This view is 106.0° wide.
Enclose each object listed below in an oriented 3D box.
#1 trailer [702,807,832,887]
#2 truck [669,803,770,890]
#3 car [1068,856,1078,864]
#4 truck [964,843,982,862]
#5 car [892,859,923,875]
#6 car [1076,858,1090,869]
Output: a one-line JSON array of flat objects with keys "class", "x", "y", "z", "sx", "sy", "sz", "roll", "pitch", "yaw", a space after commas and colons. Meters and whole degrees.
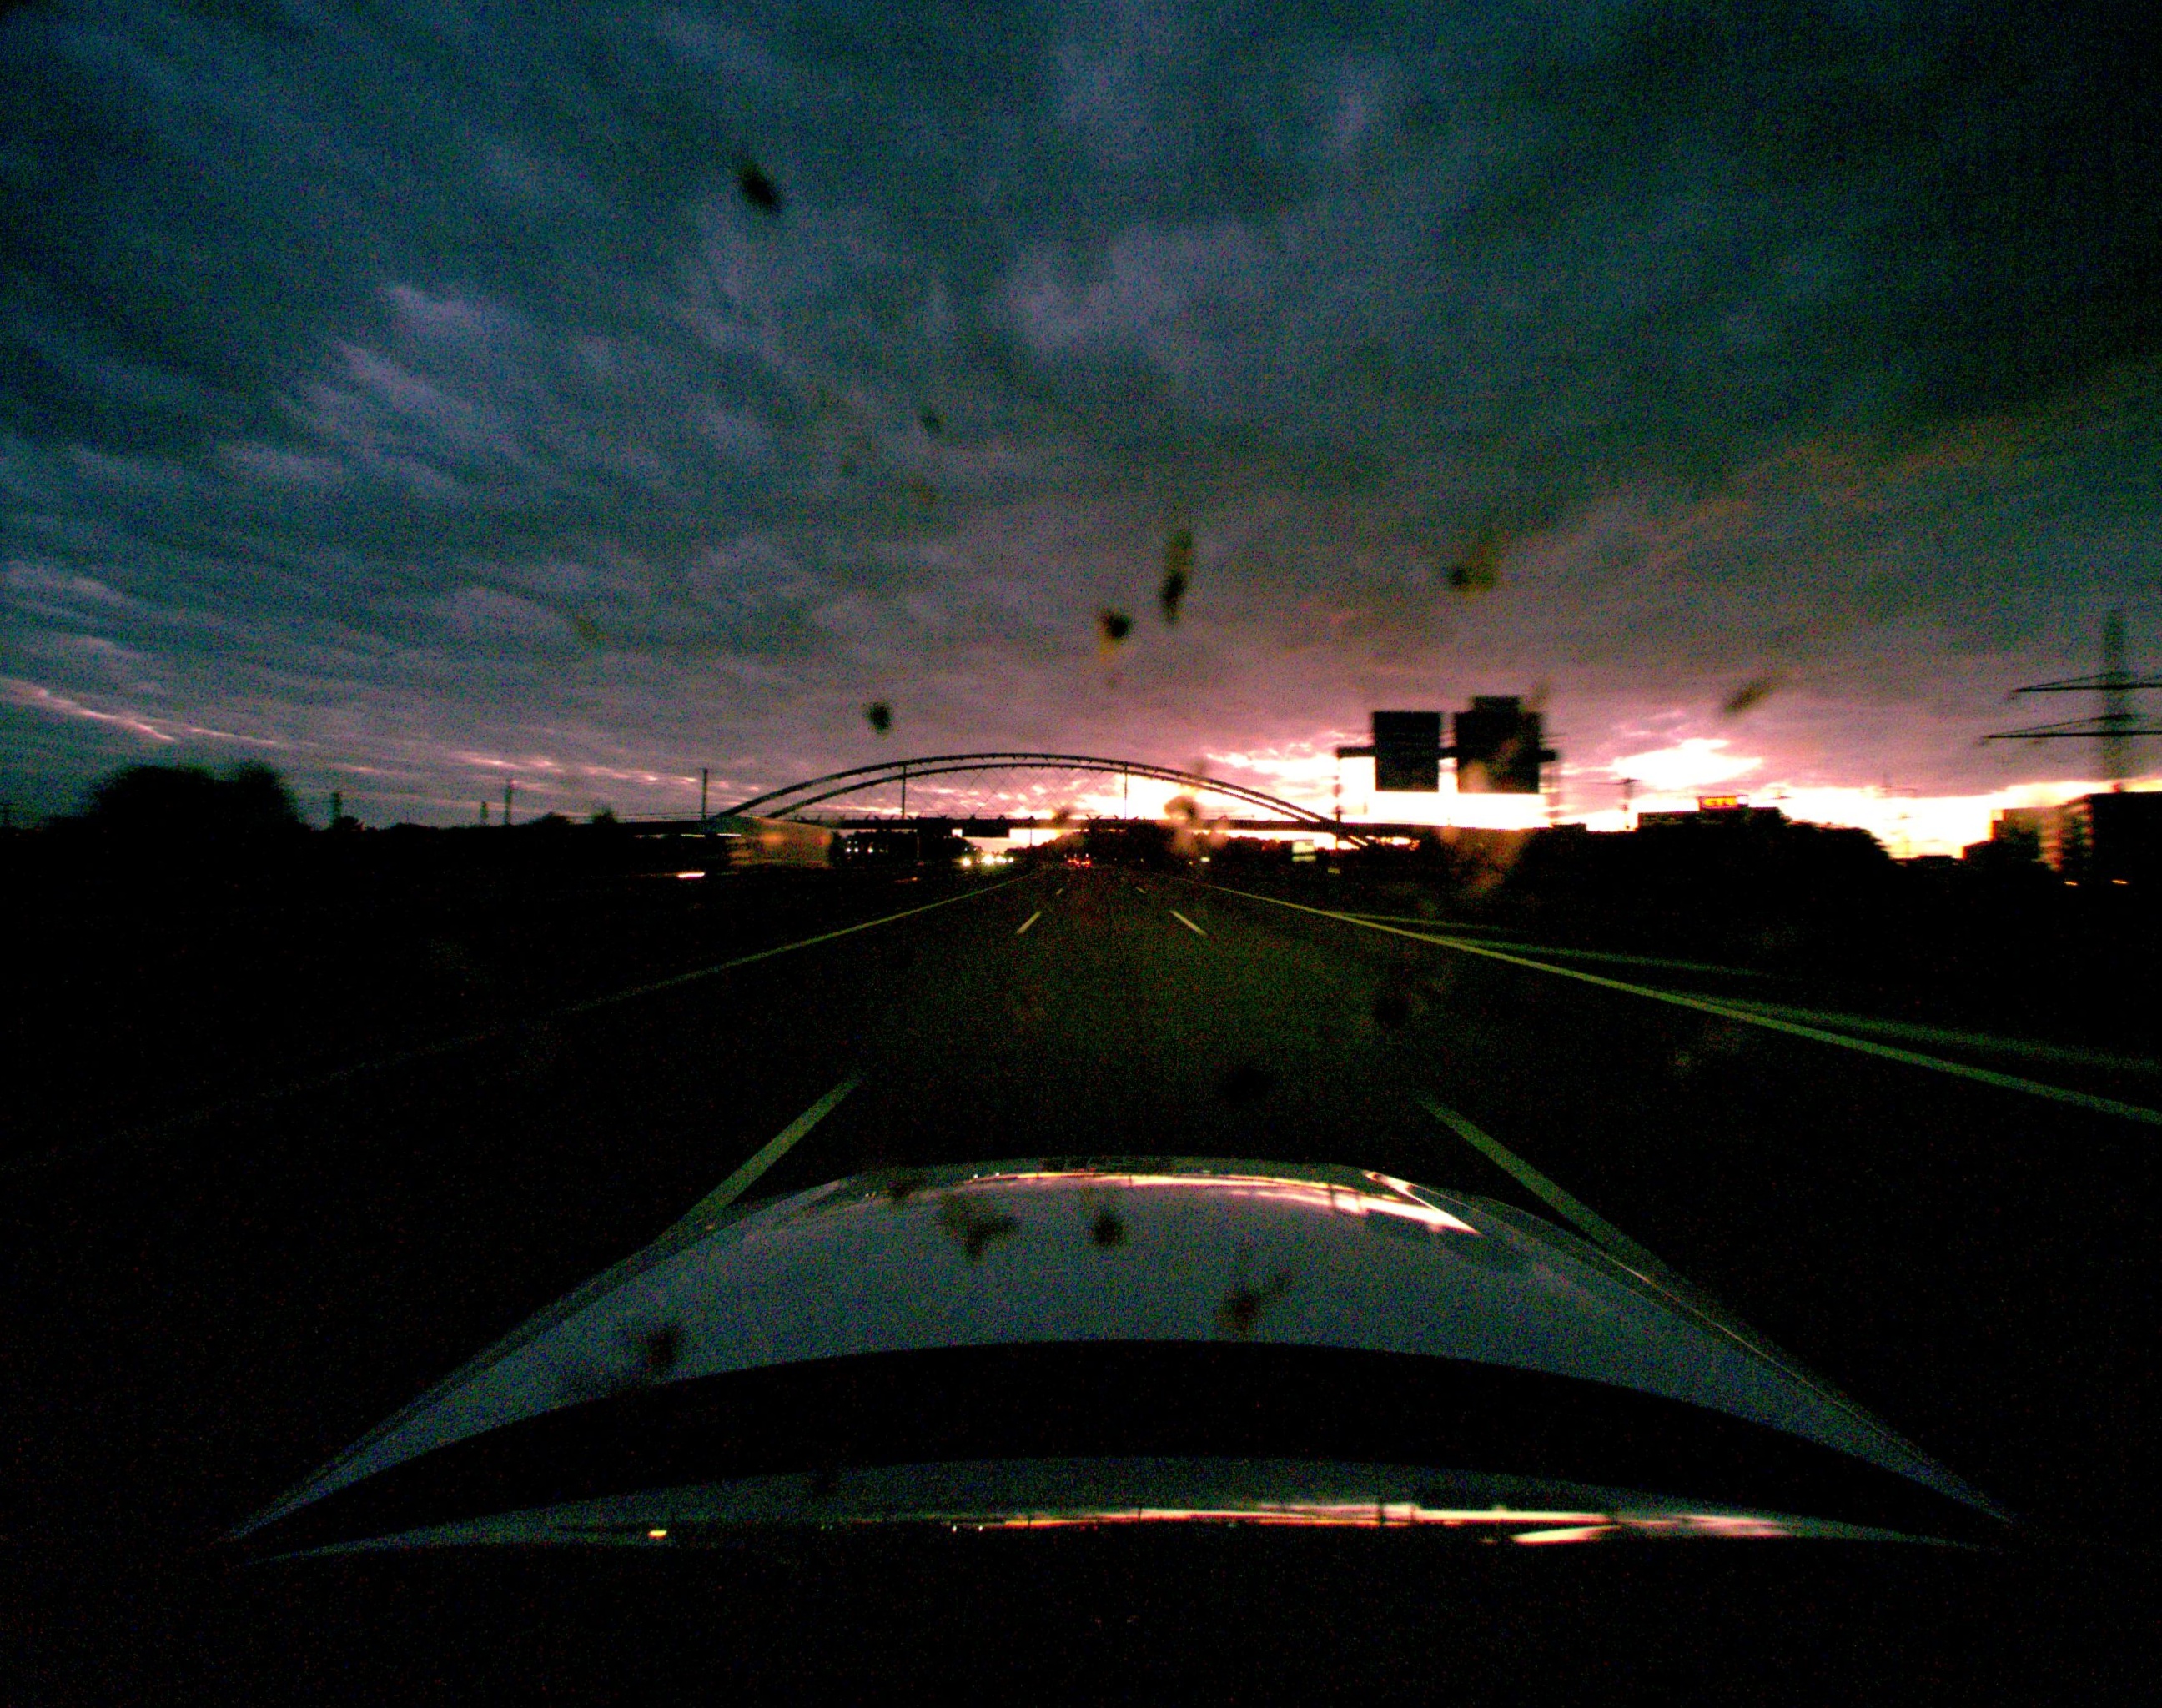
[{"class": "trailer", "x": -20.119, "y": -0.369, "z": 53.701, "sx": 2.815, "sy": 4.507, "sz": 14.625, "roll": -1, "pitch": 0, "yaw": 0}, {"class": "truck", "x": -20.076, "y": -0.367, "z": 45.634, "sx": 2.816, "sy": 4.507, "sz": 6.244, "roll": -1, "pitch": 0, "yaw": 0}, {"class": "car", "x": -1.603, "y": 1.234, "z": 164.837, "sx": 1.682, "sy": 1.401, "sz": 3.412, "roll": -1, "pitch": -2, "yaw": 4}, {"class": "truck", "x": -23.199, "y": -0.268, "z": 174.917, "sx": 2.818, "sy": 4.048, "sz": 12.201, "roll": -1, "pitch": 0, "yaw": -3}, {"class": "car", "x": -16.344, "y": 1.179, "z": 76.985, "sx": 1.987, "sy": 1.404, "sz": 4.330, "roll": -1, "pitch": 0, "yaw": 1}, {"class": "car", "x": 0.292, "y": 1.218, "z": 102.114, "sx": 1.685, "sy": 1.401, "sz": 3.406, "roll": -1, "pitch": -2, "yaw": -1}]
